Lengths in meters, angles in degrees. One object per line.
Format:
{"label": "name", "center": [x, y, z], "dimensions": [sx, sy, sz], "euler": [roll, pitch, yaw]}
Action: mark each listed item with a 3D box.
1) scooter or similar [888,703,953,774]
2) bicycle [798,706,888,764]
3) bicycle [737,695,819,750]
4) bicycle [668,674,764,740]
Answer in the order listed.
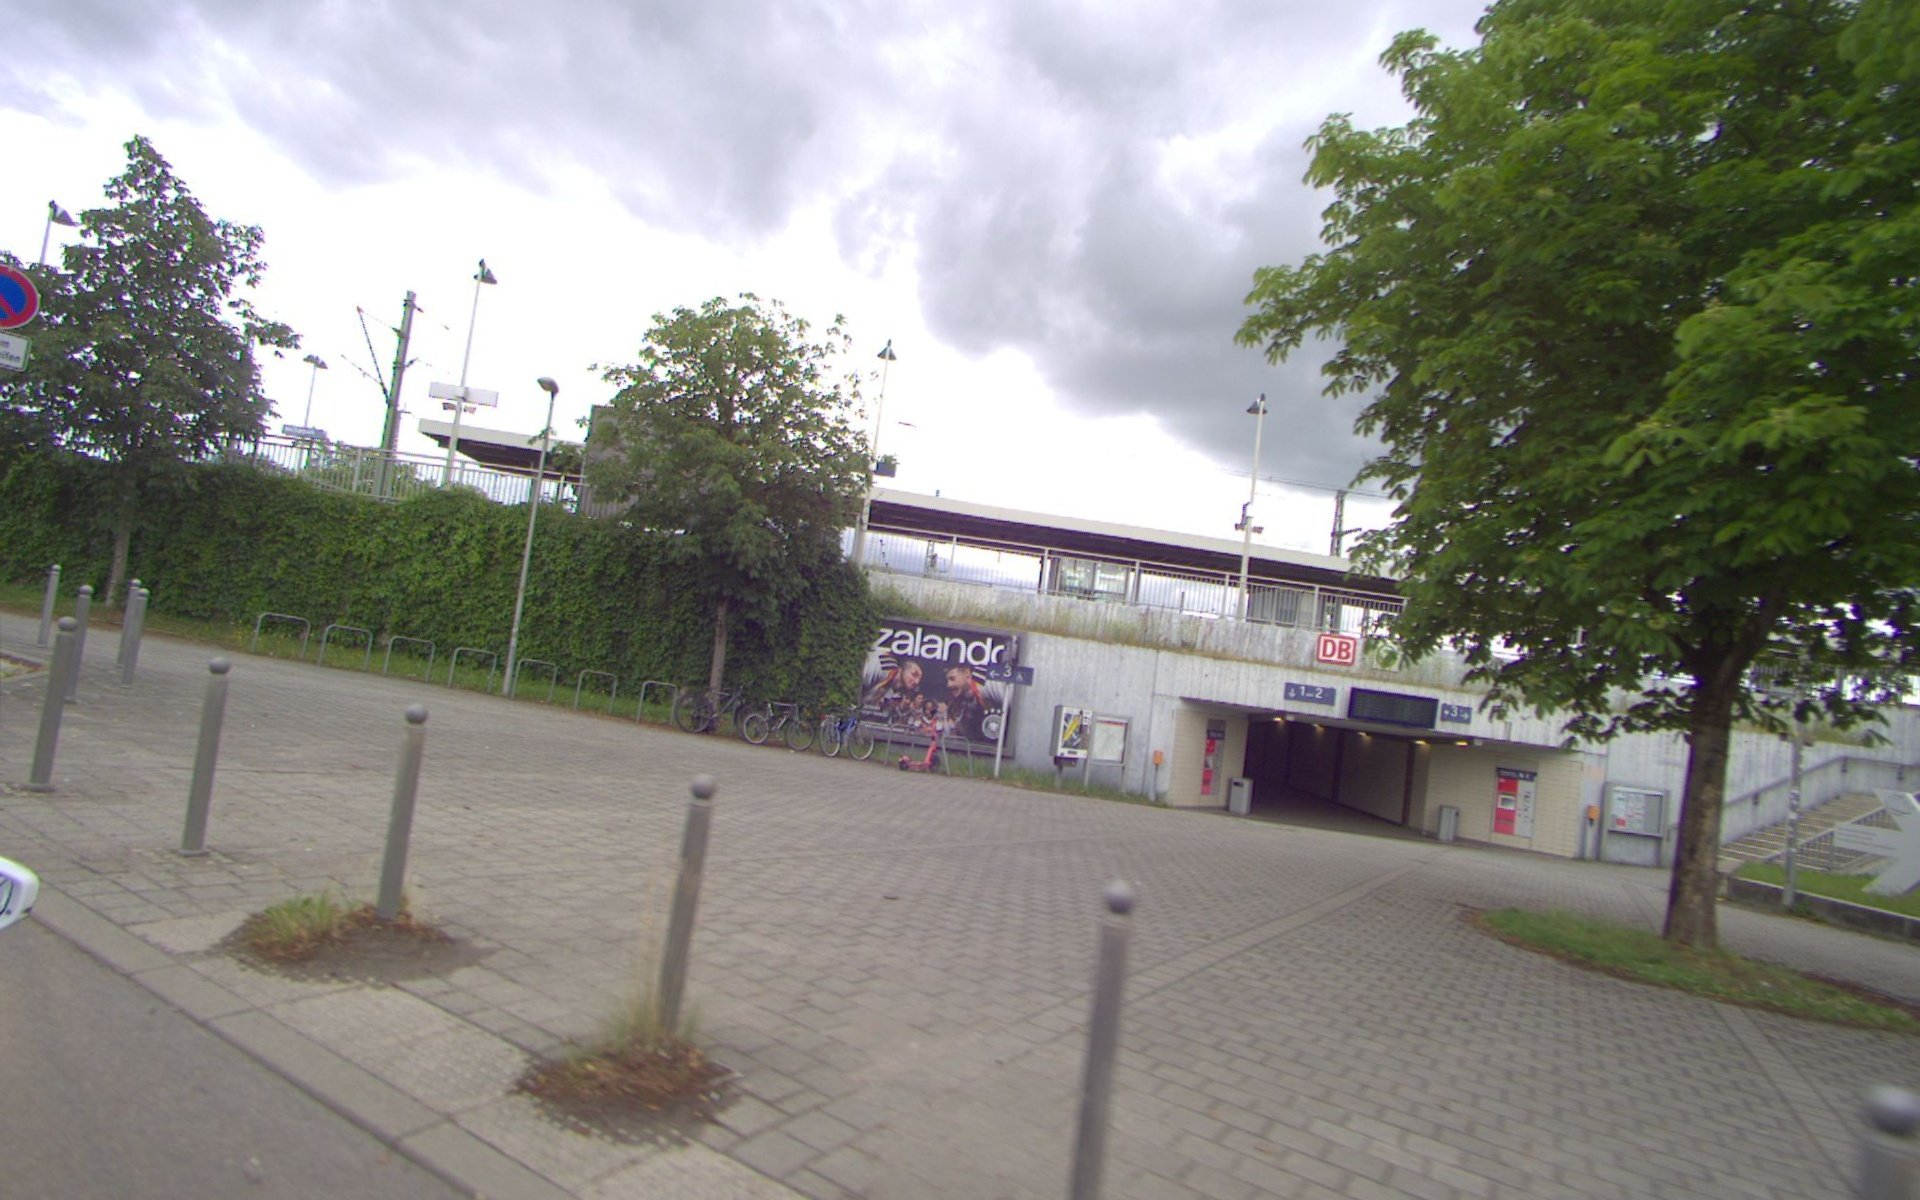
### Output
{"label": "scooter or similar", "center": [-0.747, 2.668, 19.276], "dimensions": [0.461, 1.217, 1.191], "euler": [6, -7, 35]}
{"label": "bicycle", "center": [-2.216, 2.615, 19.378], "dimensions": [0.502, 0.872, 1.975], "euler": [7, -8, 32]}
{"label": "bicycle", "center": [-3.496, 2.379, 19.394], "dimensions": [0.456, 0.862, 1.580], "euler": [6, -7, 35]}
{"label": "bicycle", "center": [-4.604, 2.037, 19.048], "dimensions": [1.485, 0.999, 0.687], "euler": [14, -6, -40]}
